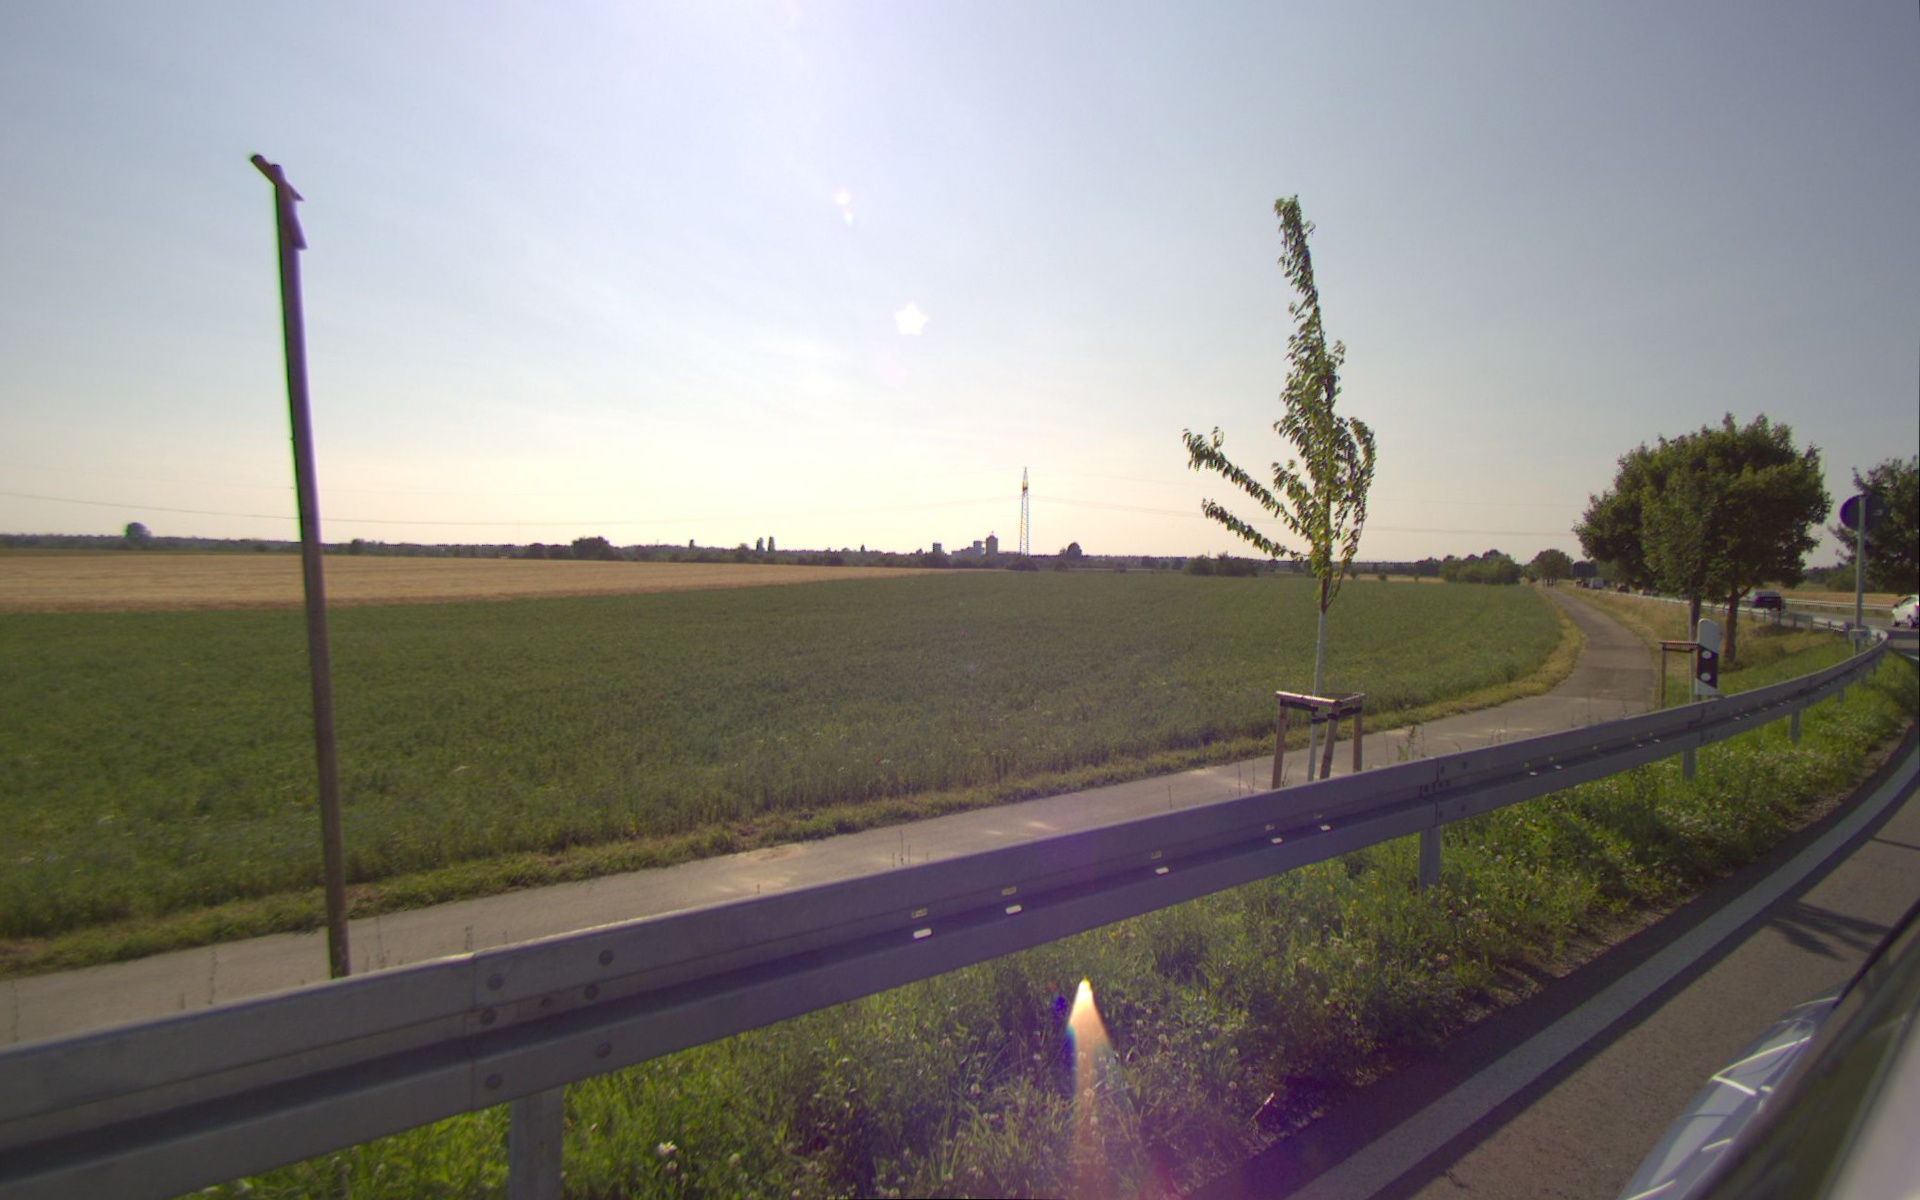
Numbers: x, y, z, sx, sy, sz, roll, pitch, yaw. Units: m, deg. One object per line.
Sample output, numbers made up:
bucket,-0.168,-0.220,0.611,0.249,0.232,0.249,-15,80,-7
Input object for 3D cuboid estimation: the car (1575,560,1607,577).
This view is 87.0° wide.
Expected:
car,76.820,-3.840,123.279,2.791,2.039,6.045,-1,1,28

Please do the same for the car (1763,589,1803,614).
car,58.872,0.103,72.465,1.831,1.563,4.195,-1,2,34

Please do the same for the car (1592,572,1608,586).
car,127.342,-4.255,201.418,2.385,2.606,5.323,2,3,29

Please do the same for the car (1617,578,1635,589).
car,106.602,-2.622,161.953,1.997,1.604,4.781,2,3,28

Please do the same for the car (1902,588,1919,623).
car,42.373,0.229,43.656,1.846,1.467,4.105,-1,1,33
